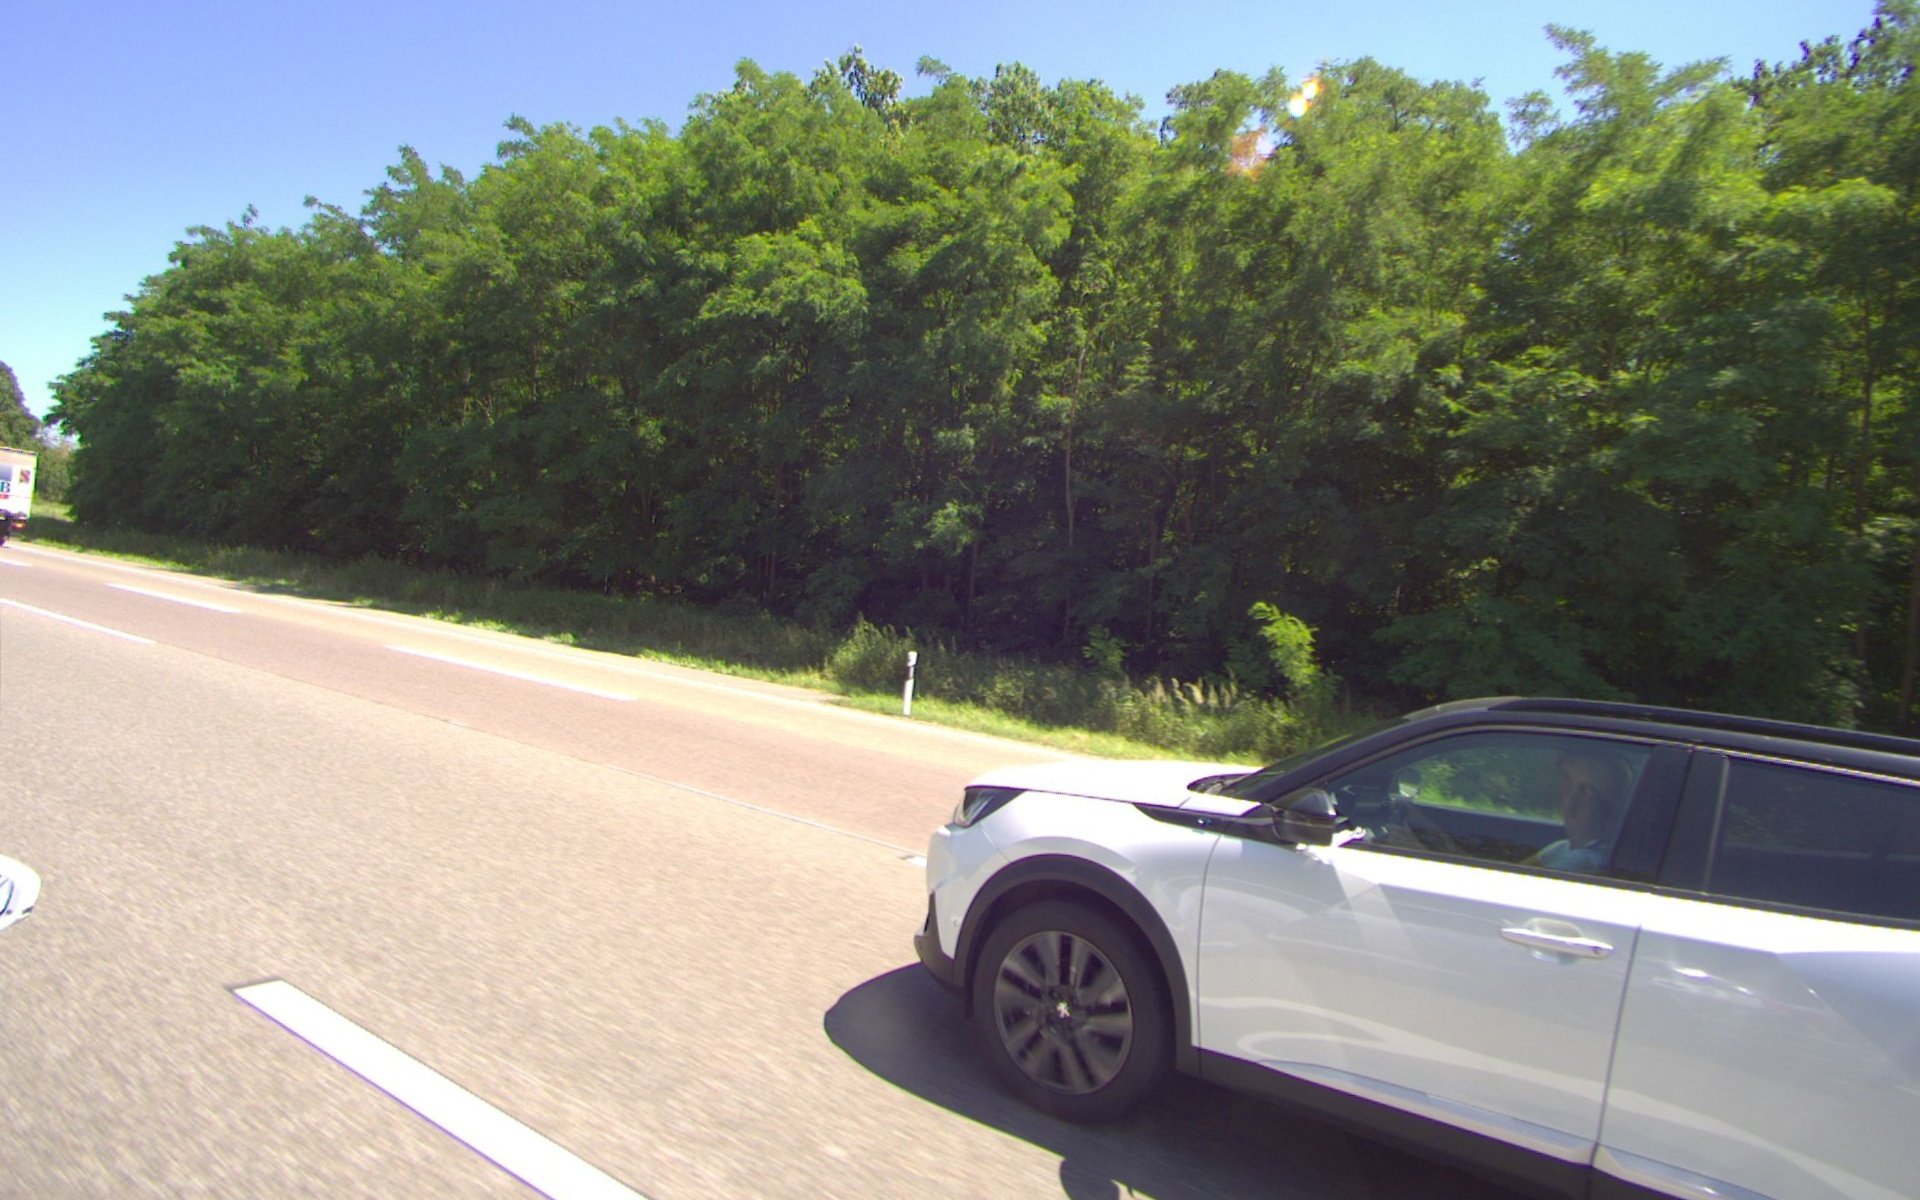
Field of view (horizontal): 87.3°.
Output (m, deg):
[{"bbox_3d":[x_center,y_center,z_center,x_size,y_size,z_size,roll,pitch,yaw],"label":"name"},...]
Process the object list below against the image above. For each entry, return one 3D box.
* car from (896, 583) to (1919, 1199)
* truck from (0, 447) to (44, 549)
[{"bbox_3d":[2.338,1.054,3.020,4.729,1.627,1.830,6,-1,32],"label":"car"},{"bbox_3d":[-37.548,-4.069,37.279,10.604,3.358,3.031,6,-2,36],"label":"truck"}]
